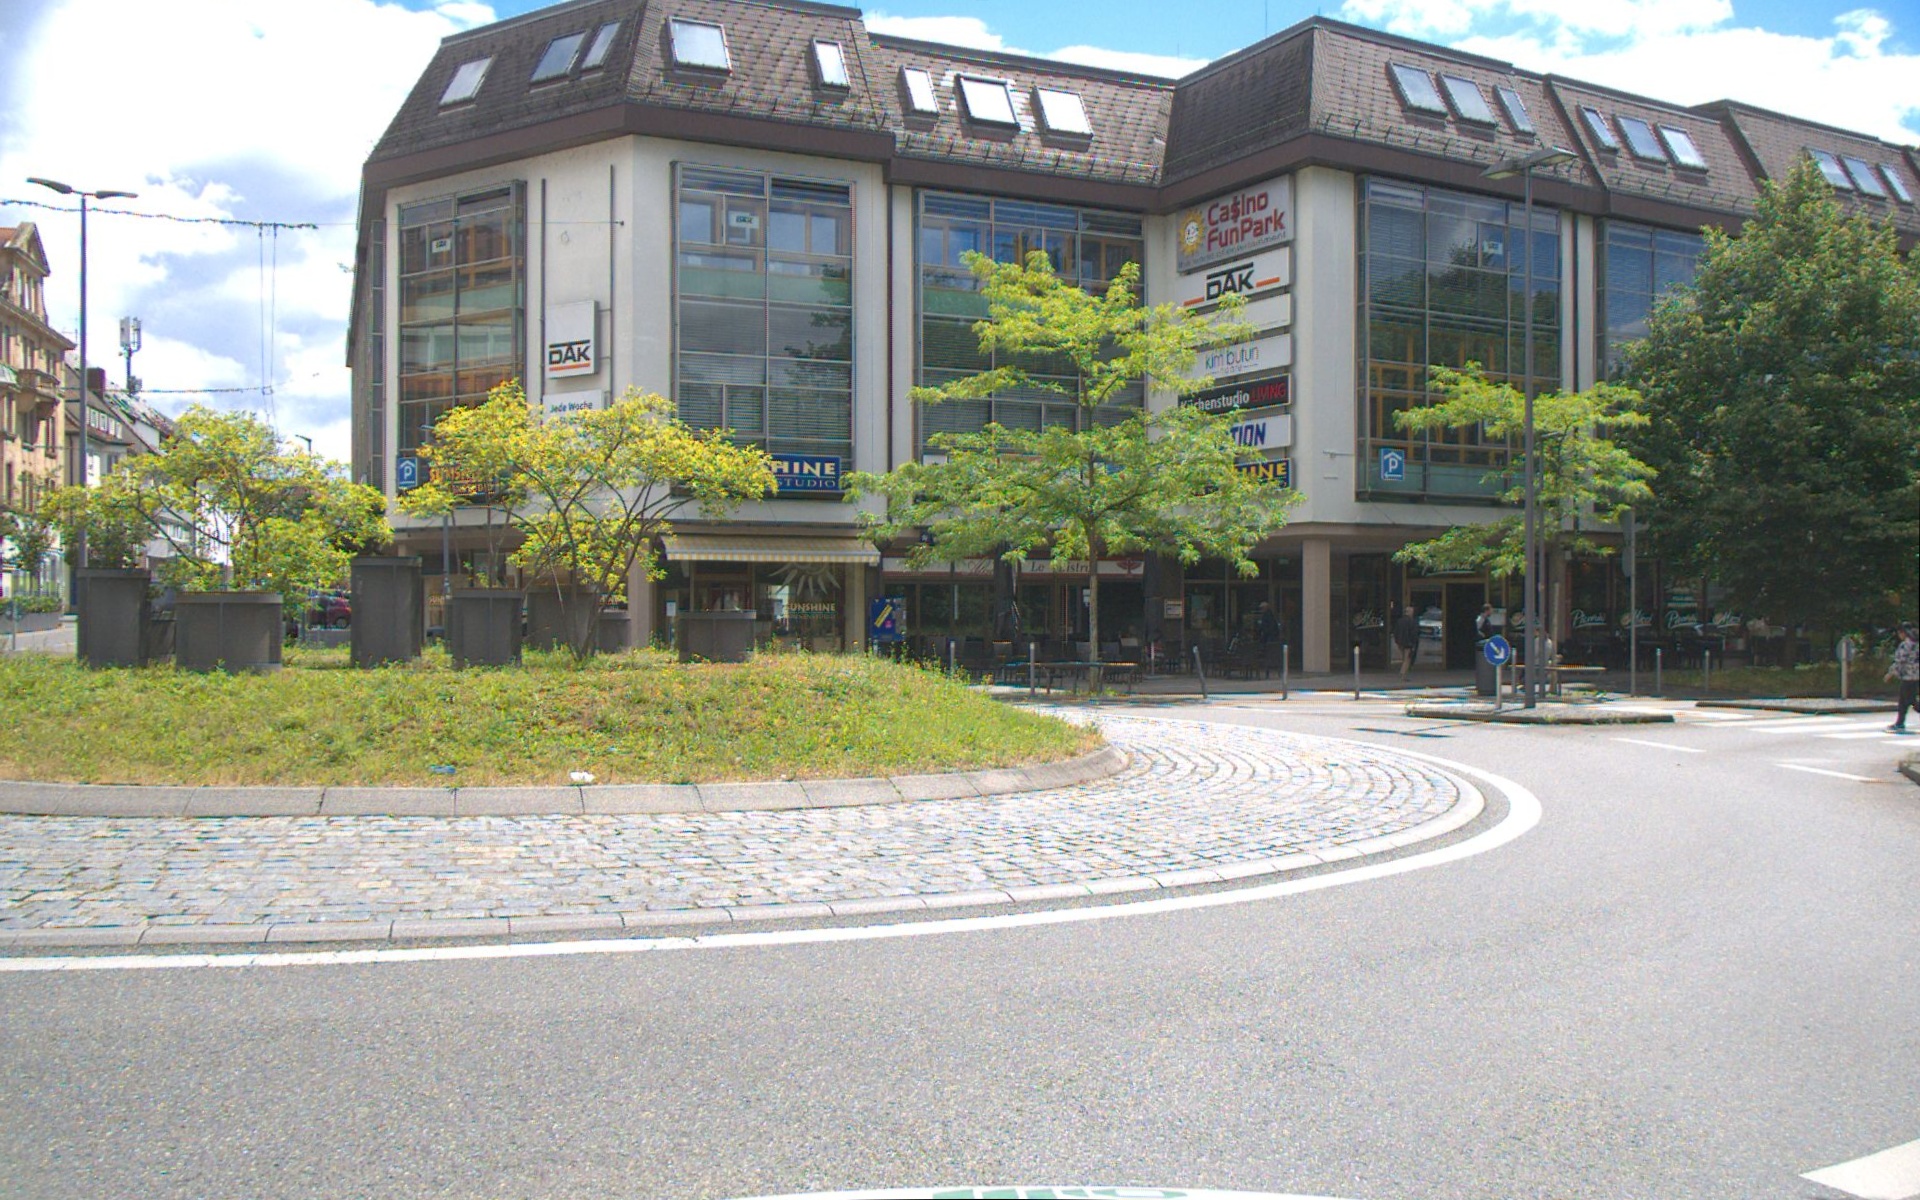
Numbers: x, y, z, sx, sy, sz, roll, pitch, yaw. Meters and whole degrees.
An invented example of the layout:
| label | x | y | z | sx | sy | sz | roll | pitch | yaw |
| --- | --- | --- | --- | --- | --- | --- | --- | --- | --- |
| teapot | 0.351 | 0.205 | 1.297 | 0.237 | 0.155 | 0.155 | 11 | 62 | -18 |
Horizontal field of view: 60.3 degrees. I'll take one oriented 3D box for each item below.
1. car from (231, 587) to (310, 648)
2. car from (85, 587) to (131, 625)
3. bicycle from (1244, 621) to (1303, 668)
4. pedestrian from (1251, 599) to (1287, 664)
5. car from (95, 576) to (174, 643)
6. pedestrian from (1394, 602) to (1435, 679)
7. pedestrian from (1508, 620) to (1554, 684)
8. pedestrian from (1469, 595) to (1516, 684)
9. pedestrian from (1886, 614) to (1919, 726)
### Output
| label | x | y | z | sx | sy | sz | roll | pitch | yaw |
| --- | --- | --- | --- | --- | --- | --- | --- | --- | --- |
| car | -21.073 | 0.510 | 50.665 | 1.795 | 1.761 | 4.213 | -1 | 0 | -17 |
| car | -41.197 | 0.266 | 80.043 | 1.687 | 1.742 | 3.970 | 1 | 0 | -24 |
| bicycle | 8.254 | 1.171 | 43.528 | 1.505 | 1.188 | 0.496 | 1 | -2 | 13 |
| pedestrian | 8.184 | 0.837 | 43.766 | 0.689 | 1.704 | 0.611 | 1 | 0 | -32 |
| car | -23.002 | 0.263 | 46.161 | 1.801 | 1.737 | 4.403 | 3 | -1 | -26 |
| pedestrian | 10.299 | 0.911 | 37.479 | 0.692 | 1.704 | 0.607 | 2 | -1 | -44 |
| pedestrian | 11.947 | 1.076 | 34.626 | 0.606 | 1.307 | 0.694 | 1 | 0 | -19 |
| pedestrian | 11.500 | 0.838 | 35.705 | 0.608 | 1.850 | 0.692 | -3 | 2 | -26 |
| pedestrian | 13.788 | 0.996 | 23.676 | 0.747 | 1.581 | 0.780 | 1 | 0 | 16 |
